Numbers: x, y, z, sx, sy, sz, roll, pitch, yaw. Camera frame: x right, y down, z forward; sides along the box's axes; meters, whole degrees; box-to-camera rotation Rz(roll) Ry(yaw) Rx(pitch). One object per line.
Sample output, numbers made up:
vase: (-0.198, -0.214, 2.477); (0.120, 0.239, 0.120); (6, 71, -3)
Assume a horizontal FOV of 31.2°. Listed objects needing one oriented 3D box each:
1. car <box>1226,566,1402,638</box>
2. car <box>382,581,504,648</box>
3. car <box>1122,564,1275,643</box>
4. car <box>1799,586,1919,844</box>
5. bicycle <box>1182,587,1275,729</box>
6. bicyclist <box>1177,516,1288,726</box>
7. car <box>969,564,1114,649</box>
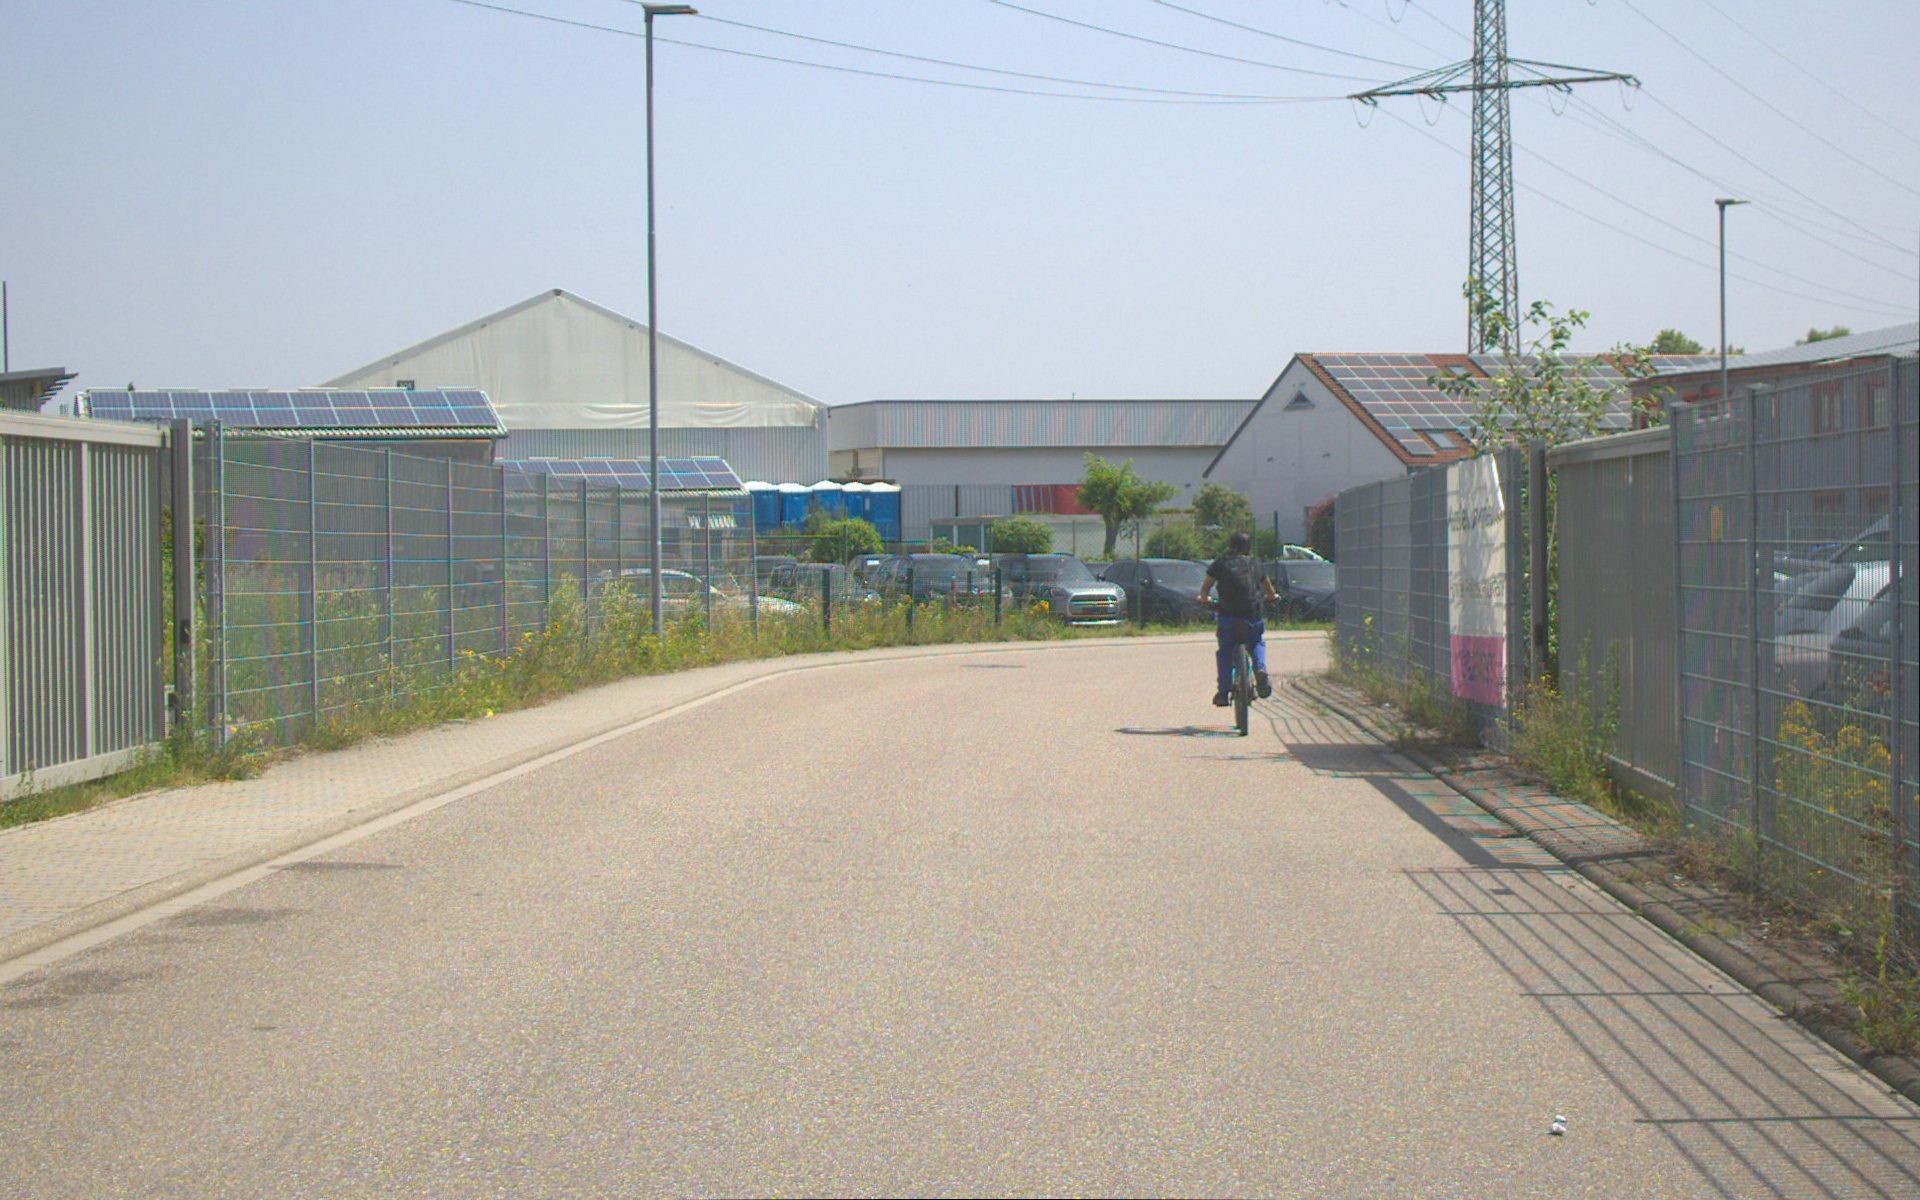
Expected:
car: (7.337, 0.017, 71.743); (1.995, 1.430, 4.667); (0, 1, -17)
car: (-10.577, 0.284, 70.223); (1.862, 1.294, 3.442); (0, 1, -19)
car: (4.822, 0.054, 70.035); (1.862, 1.549, 3.772); (0, 1, -17)
car: (7.394, 0.745, 20.800); (4.163, 1.469, 1.638); (2, 1, -1)
bicycle: (2.150, 0.441, 27.416); (0.685, 1.048, 1.900); (1, 1, 6)
bicyclist: (2.179, 0.153, 27.383); (0.842, 1.613, 1.039); (1, 2, 6)
car: (1.613, 0.103, 69.255); (1.862, 1.638, 3.635); (0, 1, -17)
